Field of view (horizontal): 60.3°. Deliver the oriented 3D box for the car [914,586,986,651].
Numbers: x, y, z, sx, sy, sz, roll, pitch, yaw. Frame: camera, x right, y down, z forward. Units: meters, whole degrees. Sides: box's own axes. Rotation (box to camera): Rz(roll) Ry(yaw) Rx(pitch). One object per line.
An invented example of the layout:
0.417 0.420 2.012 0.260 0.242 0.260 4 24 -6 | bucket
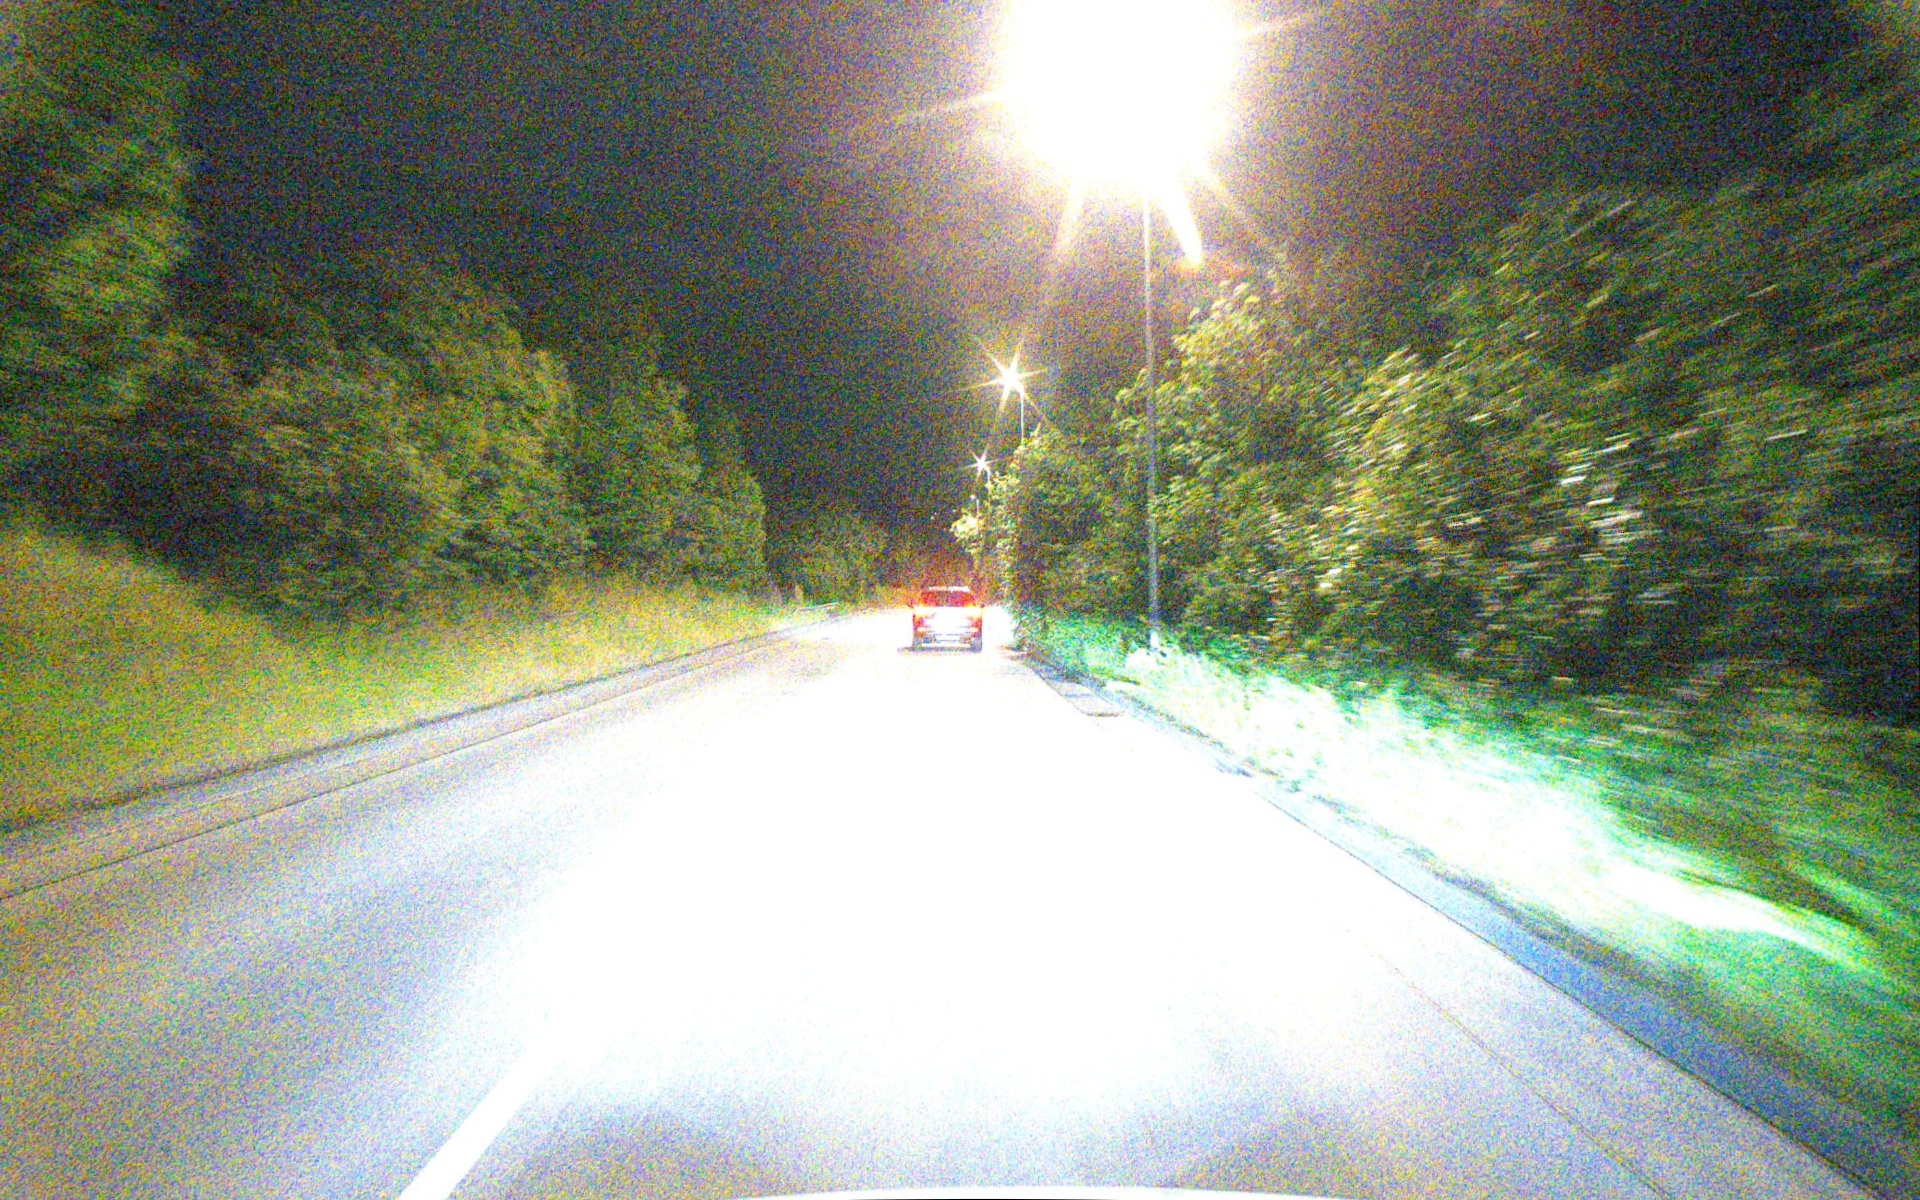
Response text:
-0.275 0.442 42.631 1.778 1.601 3.943 0 0 -1 | car
